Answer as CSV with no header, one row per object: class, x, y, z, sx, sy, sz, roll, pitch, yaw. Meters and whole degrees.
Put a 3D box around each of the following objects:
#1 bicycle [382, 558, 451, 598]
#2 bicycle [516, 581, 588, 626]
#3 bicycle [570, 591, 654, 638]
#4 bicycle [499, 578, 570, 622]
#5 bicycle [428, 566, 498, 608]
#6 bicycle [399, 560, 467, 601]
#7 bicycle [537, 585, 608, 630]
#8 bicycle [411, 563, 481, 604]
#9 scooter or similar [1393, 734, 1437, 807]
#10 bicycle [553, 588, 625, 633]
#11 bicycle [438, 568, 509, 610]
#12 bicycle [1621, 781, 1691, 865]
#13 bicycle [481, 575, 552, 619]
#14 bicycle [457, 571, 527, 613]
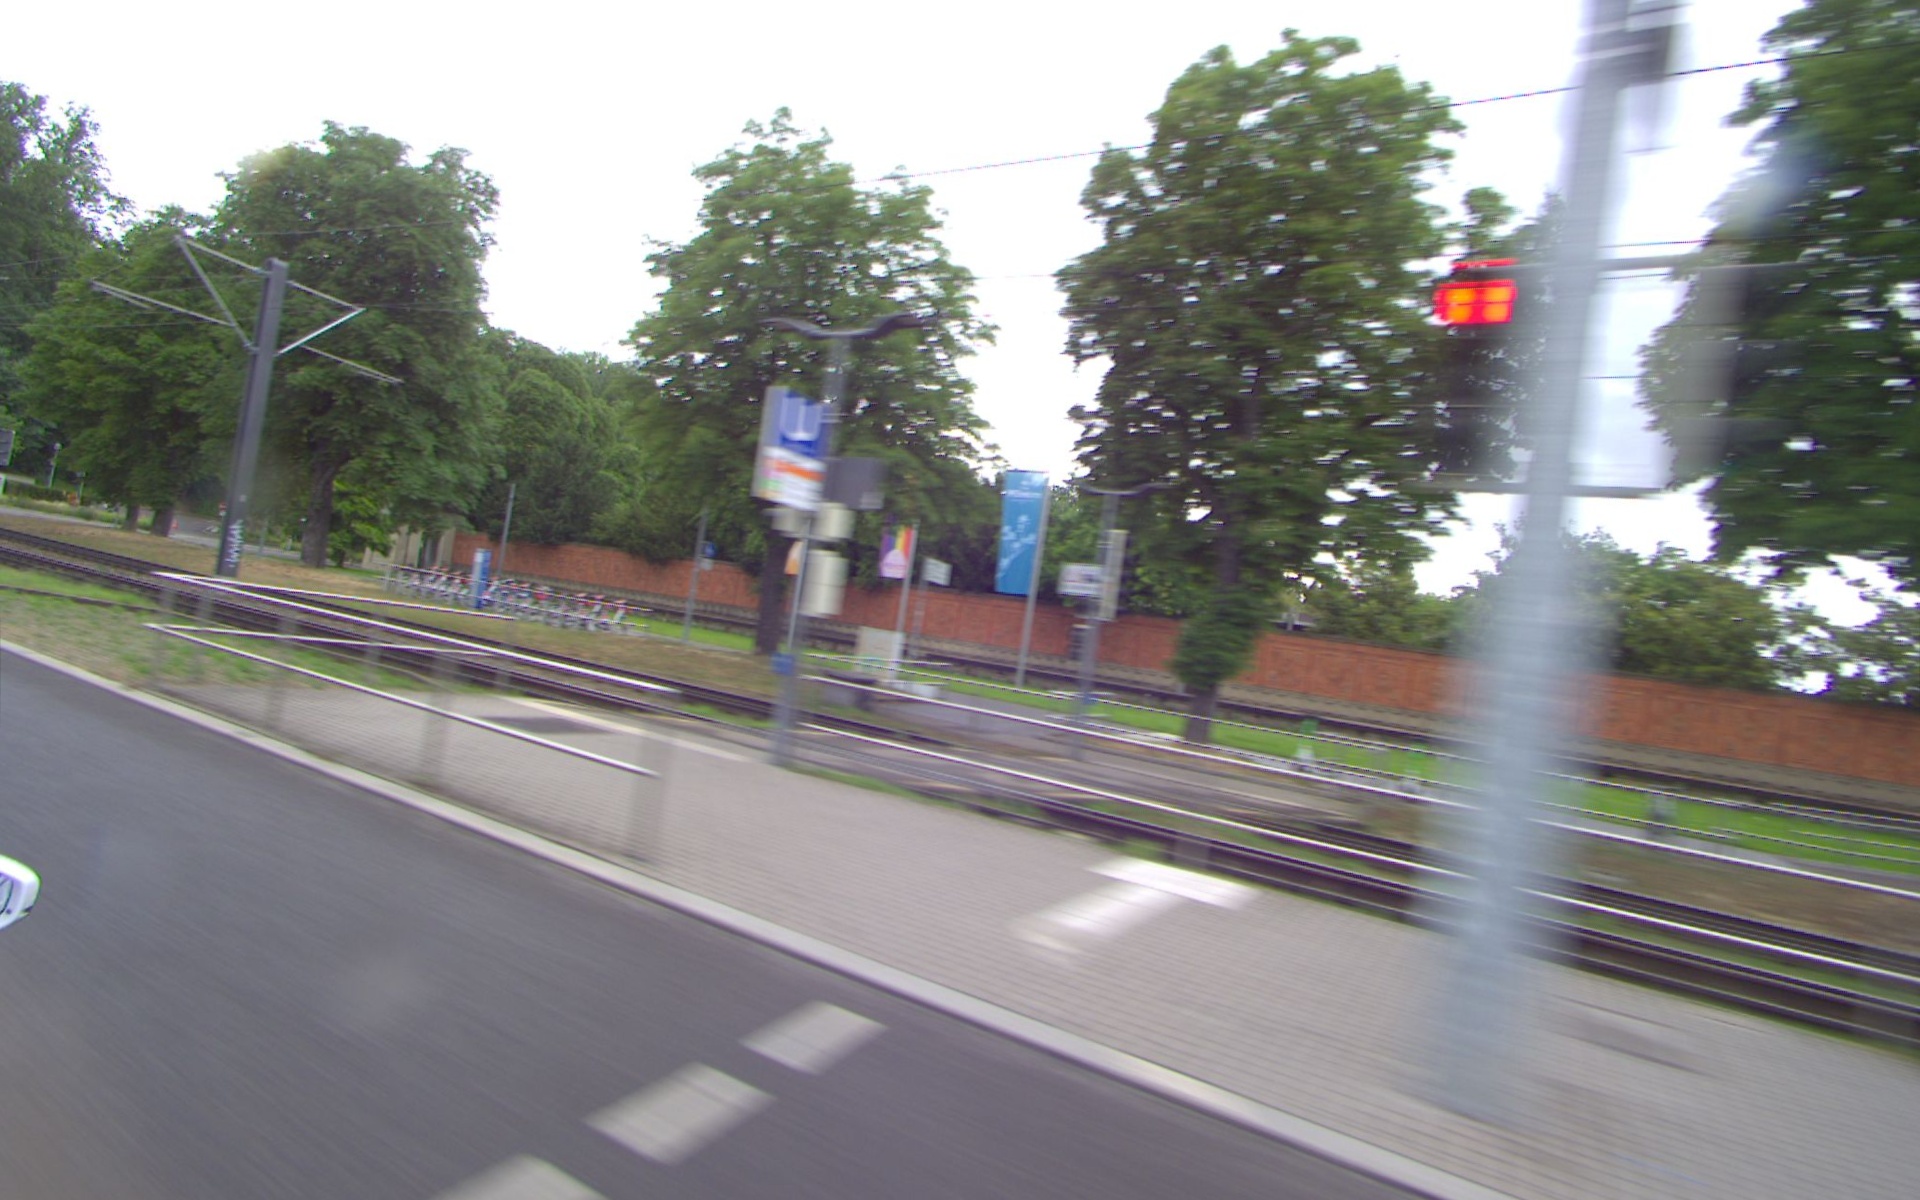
bicycle,-17.908,-0.719,33.198,0.641,1.043,1.815,8,-2,29
bicycle,-11.985,0.111,29.610,0.641,1.043,1.852,8,-2,29
bicycle,-9.766,0.434,28.343,0.677,1.043,2.229,8,-2,29
bicycle,-12.664,0.016,29.966,0.641,1.043,1.815,8,-2,29
bicycle,-15.712,-0.409,31.840,0.641,1.043,1.815,8,-2,29
bicycle,-17.151,-0.612,32.787,0.641,1.043,1.815,8,-2,29
bicycle,-11.234,0.222,29.256,0.641,1.043,1.815,8,-2,29
bicycle,-16.468,-0.524,32.273,0.641,1.043,1.815,8,-2,29
scooter or similar,7.953,2.944,17.550,0.424,1.149,1.547,8,-2,30
bicycle,-10.562,0.318,28.685,0.641,1.043,1.815,8,-2,29
bicycle,-15.168,-0.331,31.433,0.641,1.043,1.839,8,-2,29
bicycle,10.588,3.357,15.360,0.560,0.968,2.328,8,-2,30
bicycle,-13.330,-0.078,30.303,0.641,1.046,1.815,8,-2,29
bicycle,-14.506,-0.231,31.223,0.641,1.043,1.815,8,-2,29
